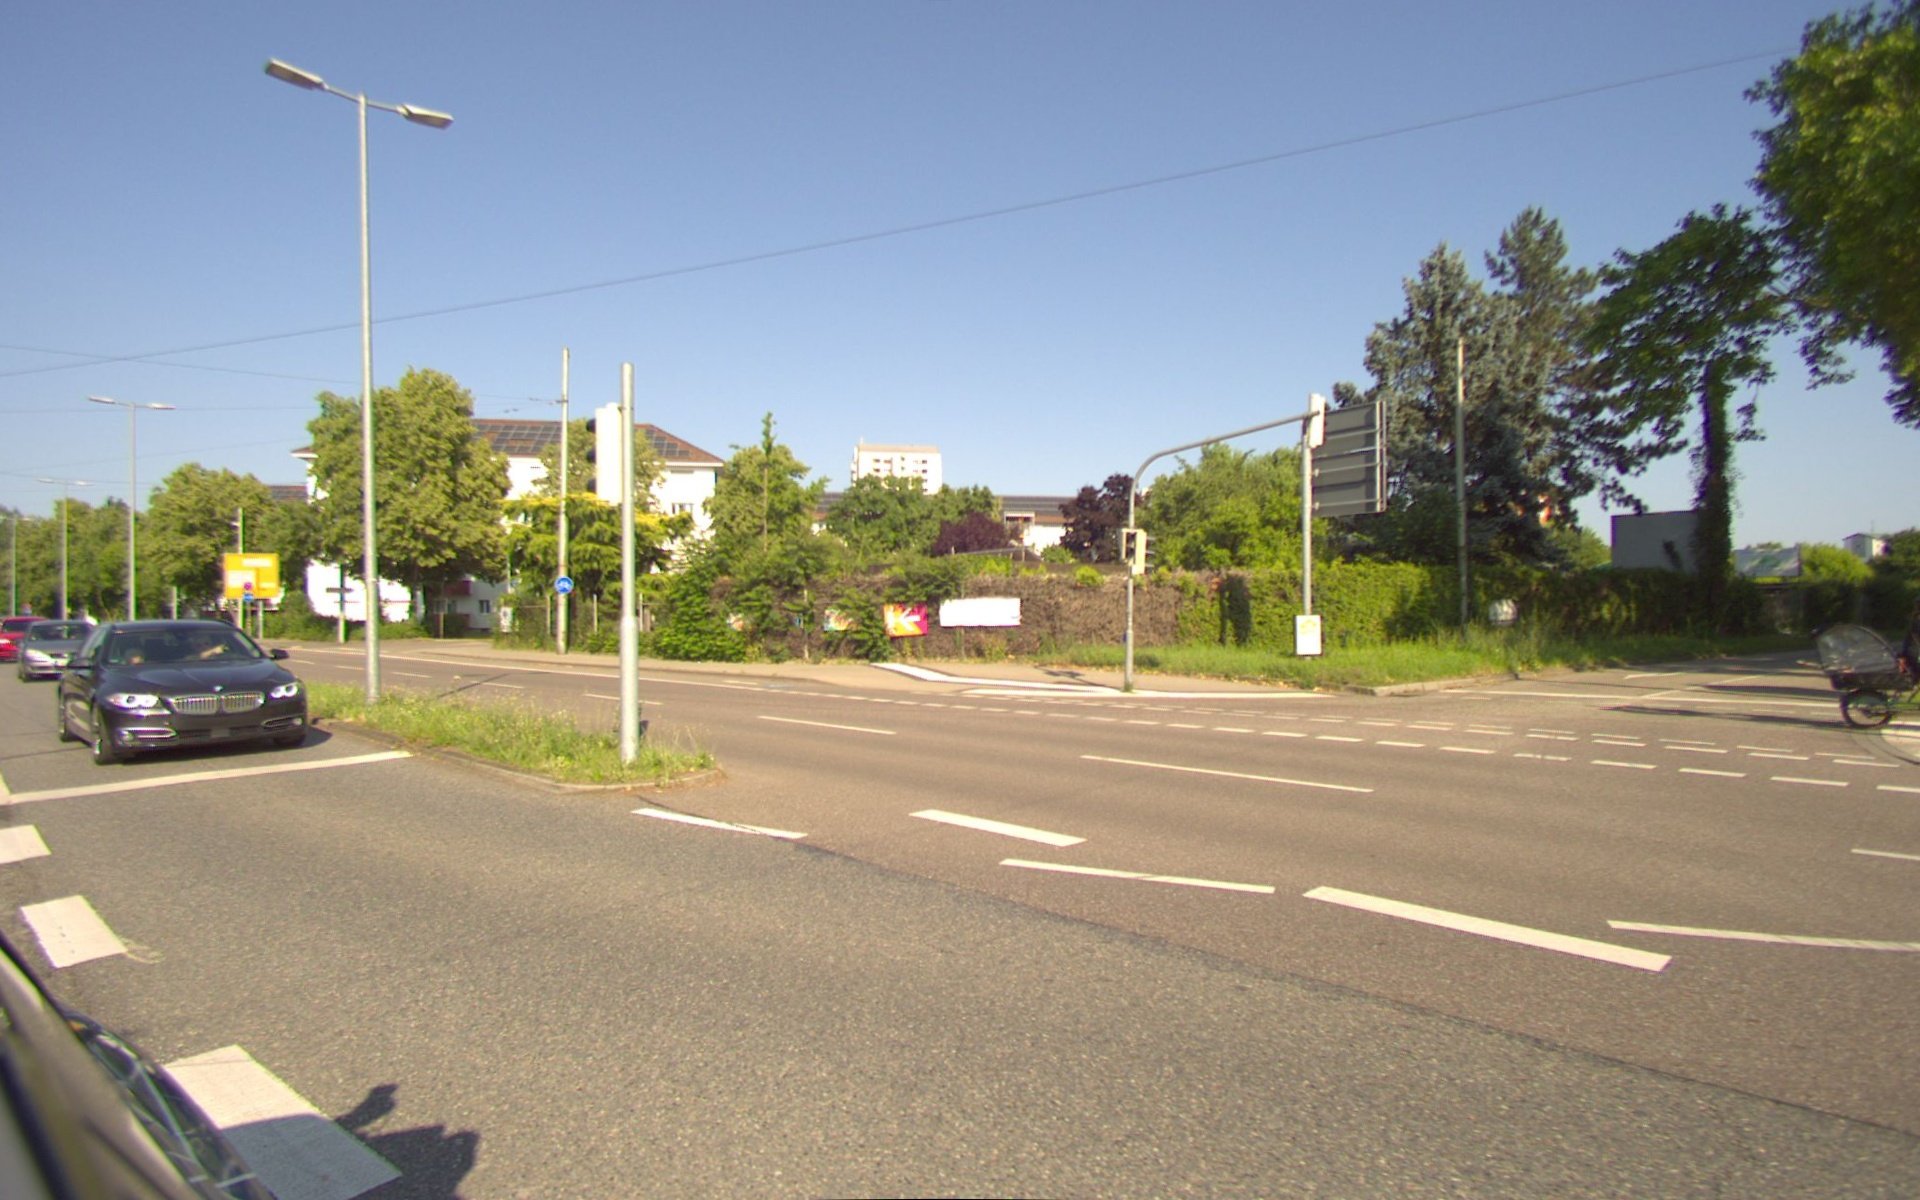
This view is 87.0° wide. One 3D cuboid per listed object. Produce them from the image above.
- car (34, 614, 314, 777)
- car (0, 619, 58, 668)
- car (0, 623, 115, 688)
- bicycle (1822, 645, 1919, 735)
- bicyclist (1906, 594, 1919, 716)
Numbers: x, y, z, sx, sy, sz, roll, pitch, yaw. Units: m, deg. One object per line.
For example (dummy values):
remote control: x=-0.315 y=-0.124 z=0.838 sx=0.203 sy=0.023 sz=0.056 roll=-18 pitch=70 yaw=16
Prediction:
car: x=-9.340 y=0.966 z=11.871 sx=4.643 sy=1.497 sz=1.742 roll=-2 pitch=0 yaw=42
car: x=-33.353 y=1.510 z=36.009 sx=1.669 sy=1.594 sz=3.835 roll=-1 pitch=0 yaw=-45
car: x=-22.605 y=1.331 z=25.297 sx=3.830 sy=1.439 sz=1.671 roll=-2 pitch=0 yaw=41
bicycle: x=12.091 y=1.100 z=12.144 sx=0.653 sy=1.057 sz=2.584 roll=0 pitch=-1 yaw=-41
bicyclist: x=12.106 y=0.658 z=12.128 sx=0.653 sy=1.463 sz=1.052 roll=0 pitch=-1 yaw=-42
